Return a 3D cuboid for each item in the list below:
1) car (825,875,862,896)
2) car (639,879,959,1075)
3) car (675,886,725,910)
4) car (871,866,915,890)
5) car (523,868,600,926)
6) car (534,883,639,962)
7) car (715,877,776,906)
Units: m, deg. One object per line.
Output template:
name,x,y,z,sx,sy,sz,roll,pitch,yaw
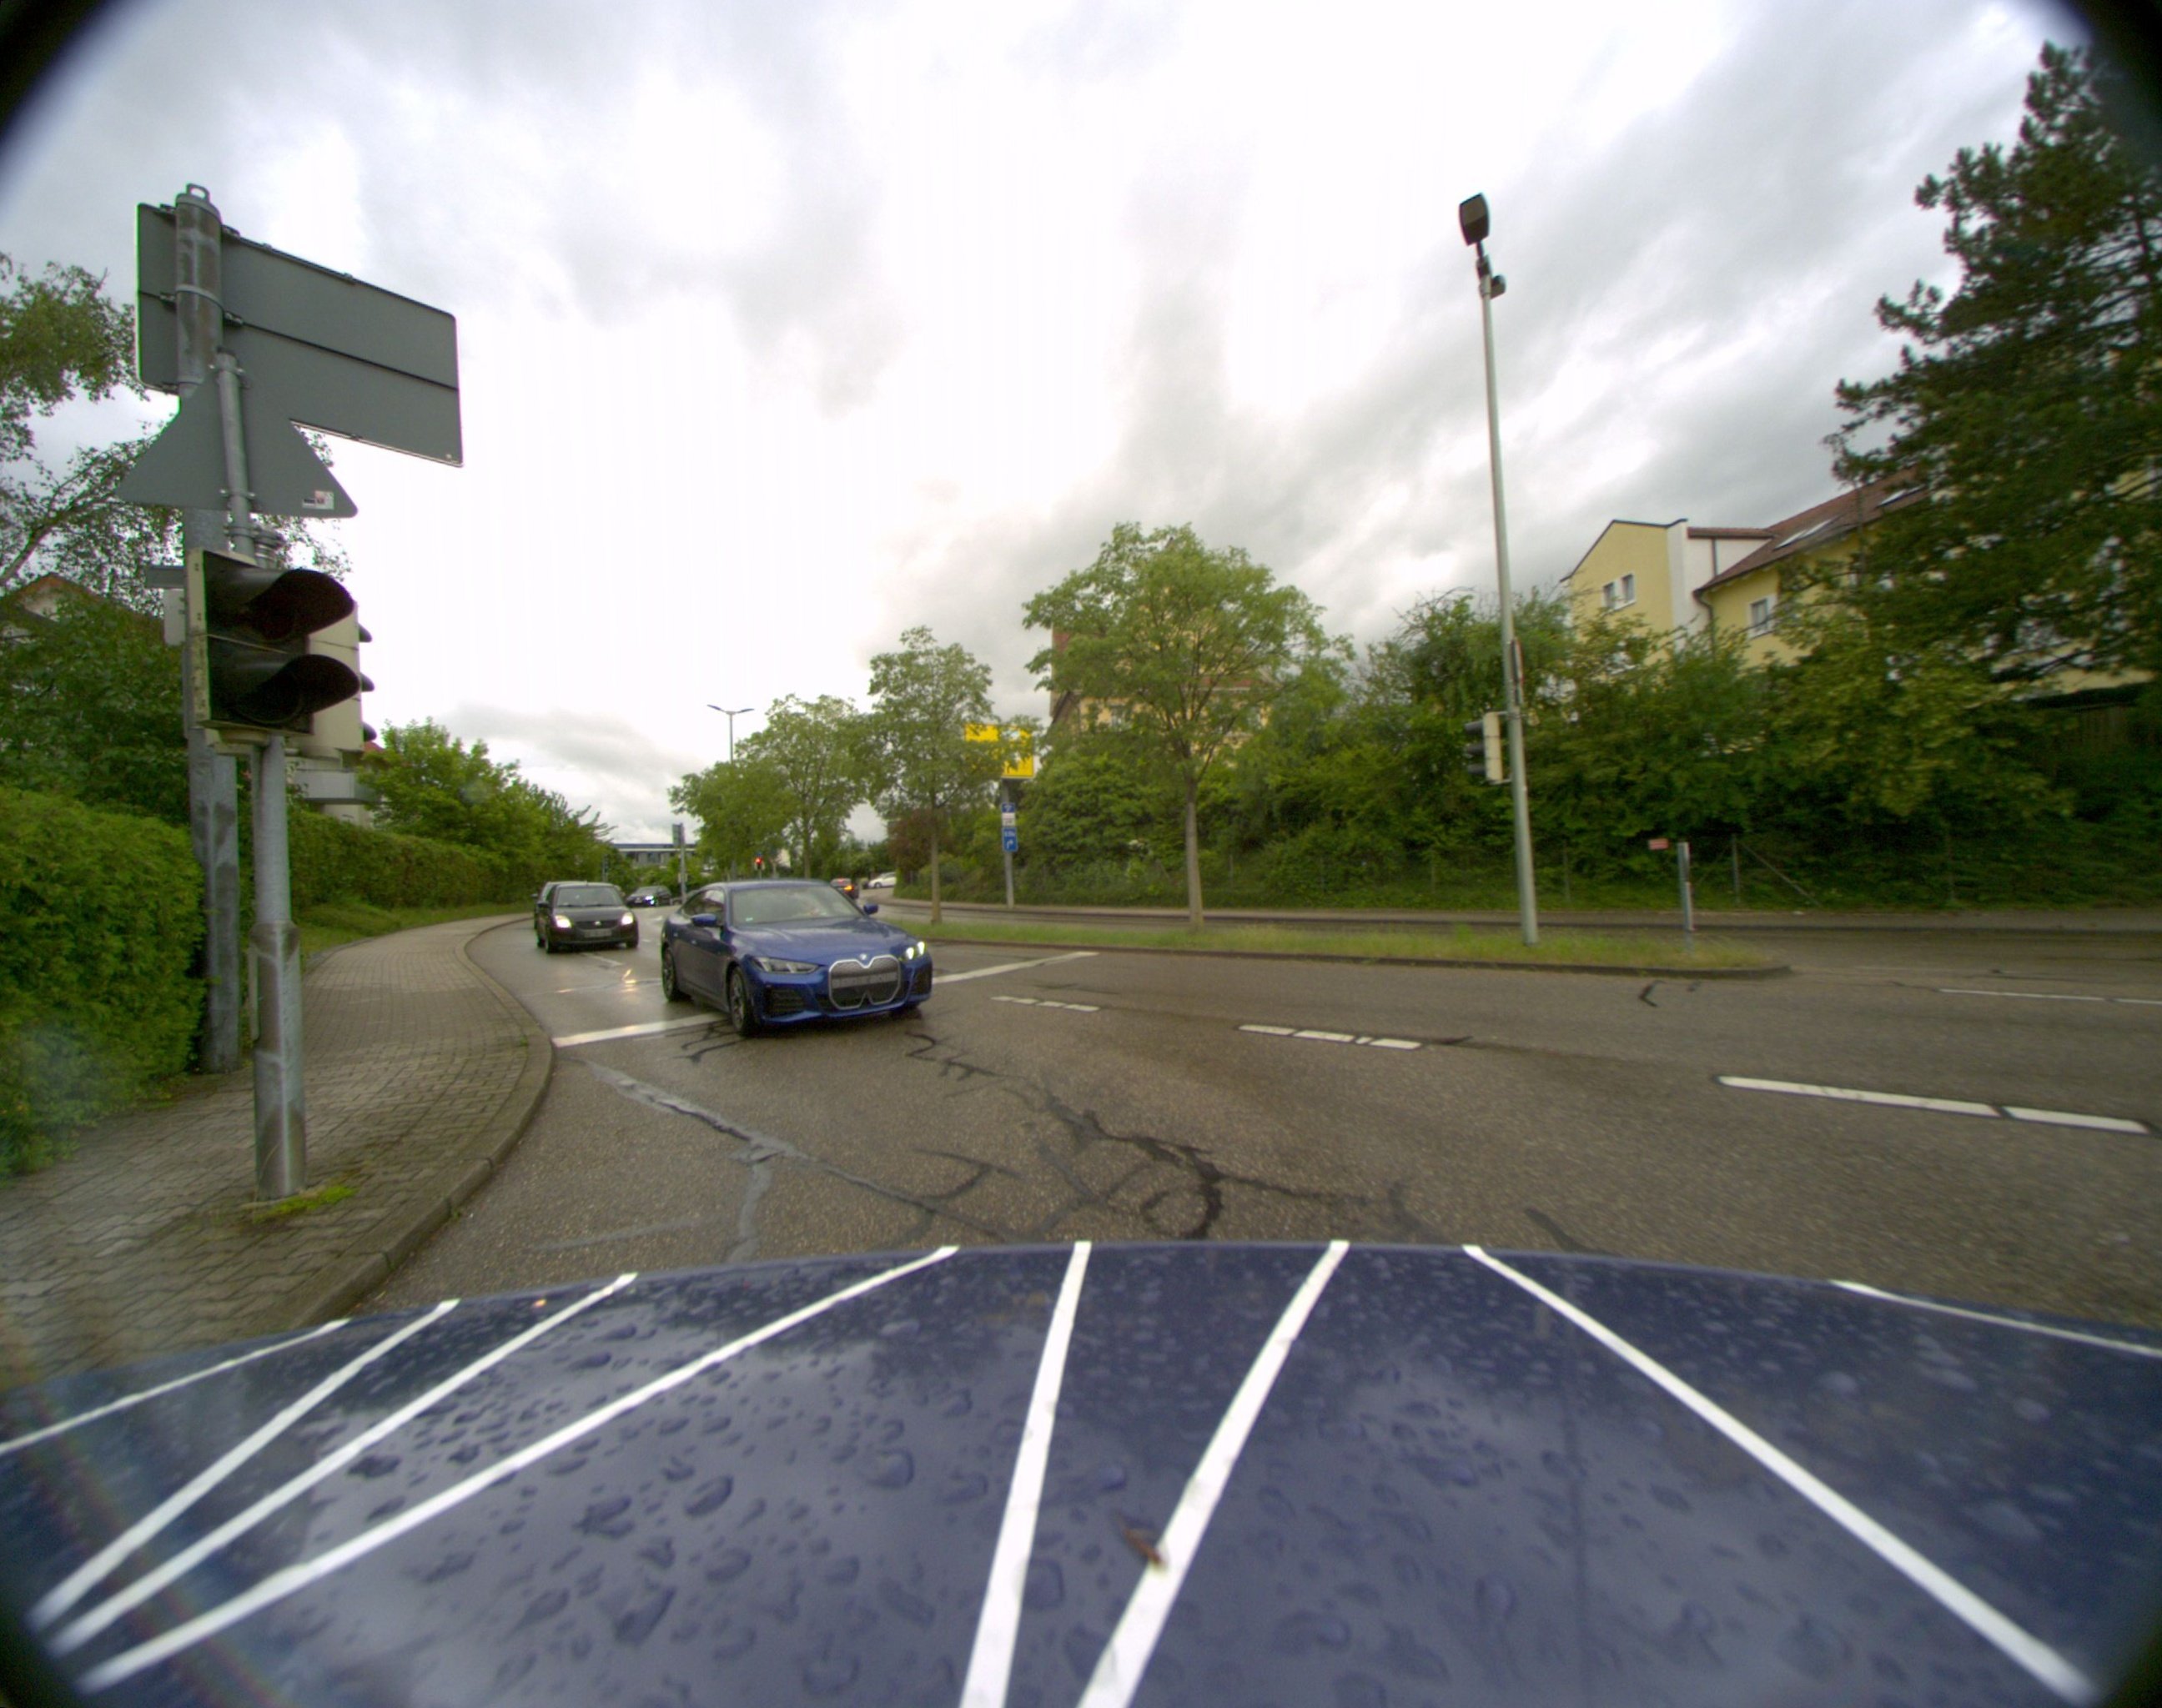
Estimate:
car,-17.027,2.262,54.661,2.000,1.429,4.545,-1,-2,-11
car,-3.370,1.086,8.504,1.918,1.487,4.337,-4,1,-40
car,-38.098,4.373,76.084,4.002,2.001,1.998,-5,-1,-17
car,-18.522,2.378,74.756,4.002,2.001,1.998,-5,-1,-17
car,-18.430,1.579,27.122,1.971,1.739,4.299,-5,-1,-32
car,-11.475,1.469,17.516,1.750,1.510,3.990,-1,-1,-37
car,-27.124,3.018,61.506,1.908,1.914,4.007,-6,-1,31
